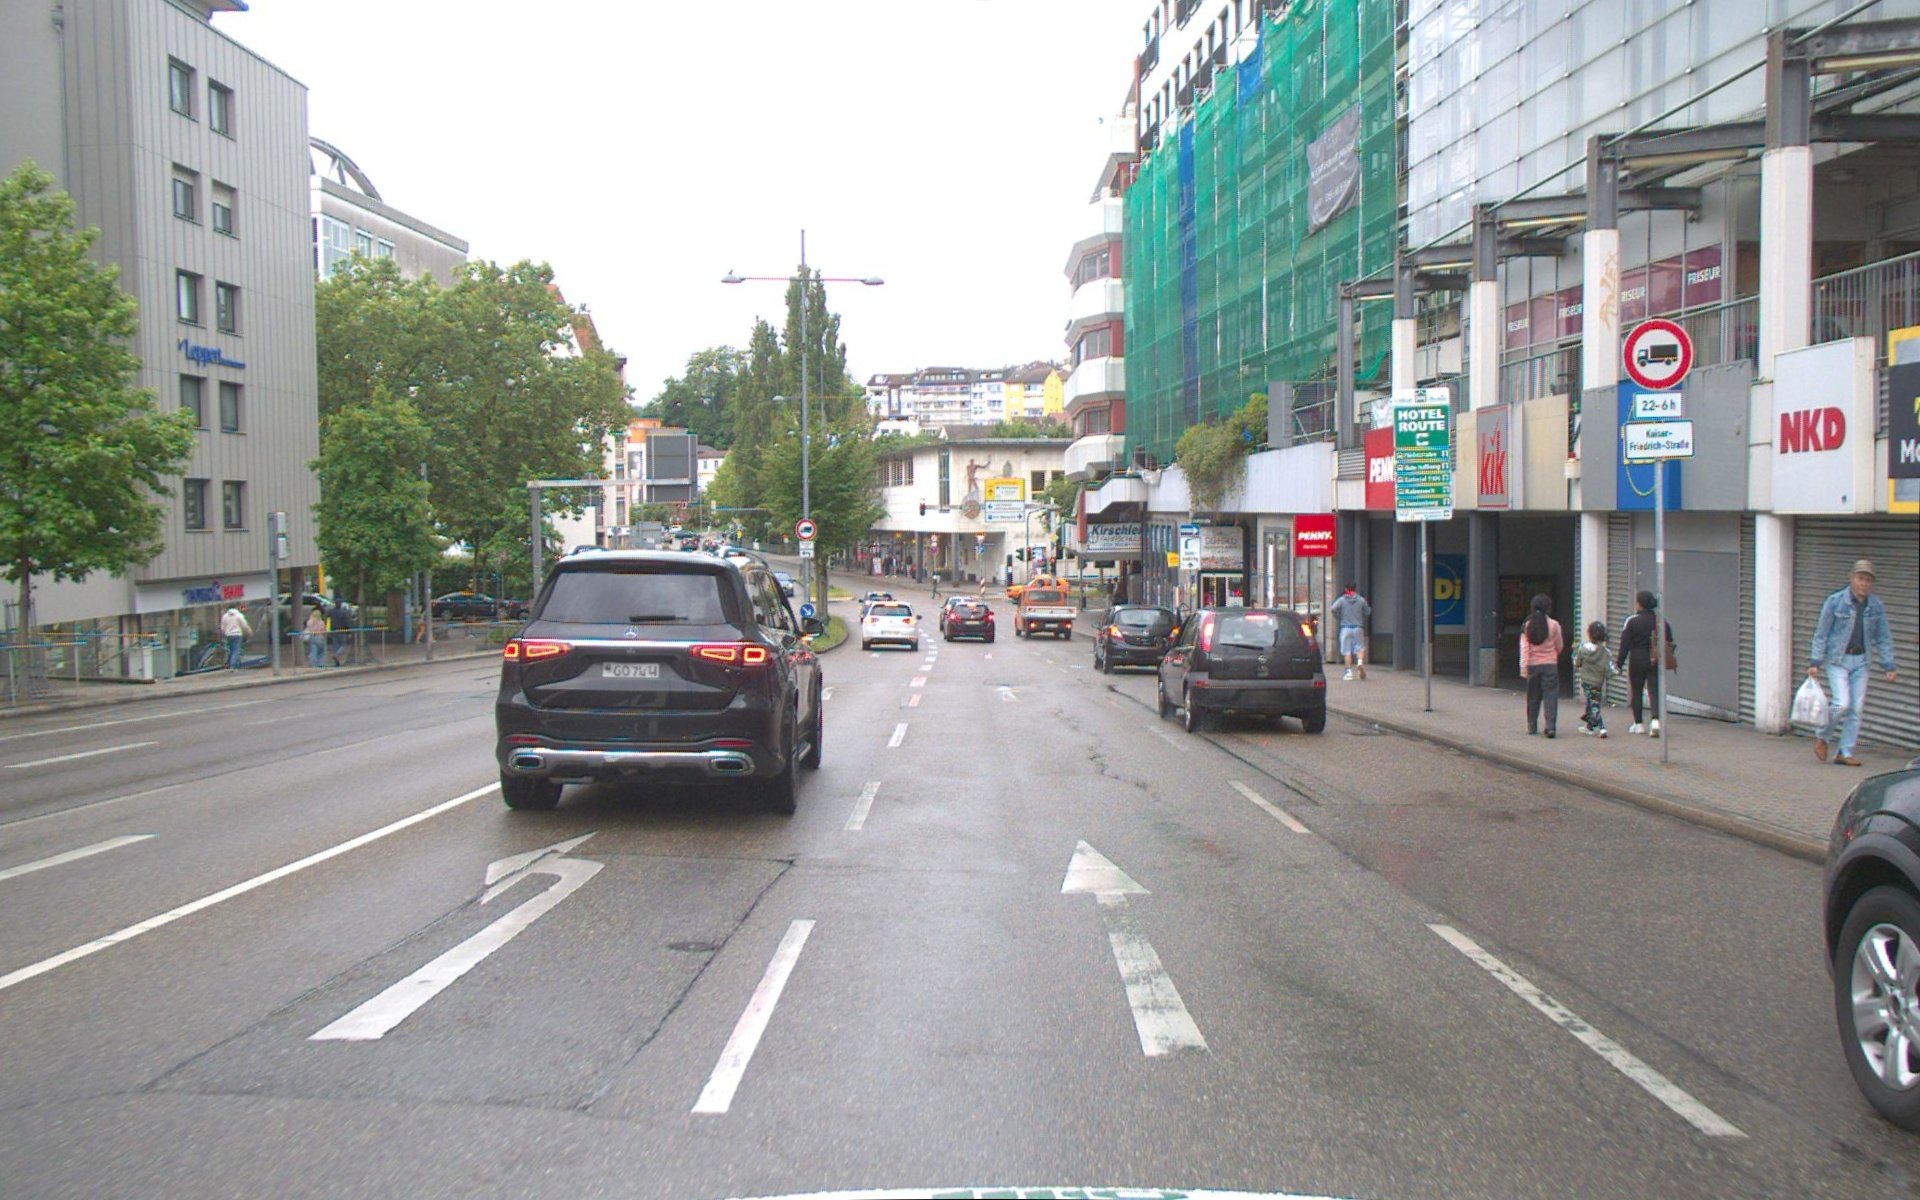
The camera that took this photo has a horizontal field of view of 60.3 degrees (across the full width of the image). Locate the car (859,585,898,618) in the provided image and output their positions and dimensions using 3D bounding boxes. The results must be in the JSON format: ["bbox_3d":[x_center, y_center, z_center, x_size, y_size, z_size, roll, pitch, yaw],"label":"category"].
[{"bbox_3d":[-3.904,0.035,78.849,1.759,1.494,3.996,0,1,-5],"label":"car"}]

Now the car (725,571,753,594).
[{"bbox_3d":[-15.470,-1.194,115.523,1.745,1.576,3.990,0,0,-10],"label":"car"}]

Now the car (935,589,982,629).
[{"bbox_3d":[-0.071,0.371,71.157,1.726,1.569,3.997,0,1,-4],"label":"car"}]

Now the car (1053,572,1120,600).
[{"bbox_3d":[7.730,-0.847,101.153,3.756,1.645,1.766,0,0,-18],"label":"car"}]

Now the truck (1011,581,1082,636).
[{"bbox_3d":[3.423,0.299,66.811,2.141,2.119,5.598,0,0,-5],"label":"truck"}]

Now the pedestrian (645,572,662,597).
[{"bbox_3d":[-20.531,-1.037,110.786,0.918,1.636,0.555,-2,0,-43],"label":"pedestrian"}]

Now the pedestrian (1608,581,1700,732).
[{"bbox_3d":[7.043,0.561,16.822,0.755,1.492,0.704,-1,0,16],"label":"pedestrian"}]

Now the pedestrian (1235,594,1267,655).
[{"bbox_3d":[8.133,0.688,46.174,0.631,1.678,0.559,-3,-1,40],"label":"pedestrian"}]

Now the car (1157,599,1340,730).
[{"bbox_3d":[3.431,0.716,20.289,1.681,1.445,3.771,0,0,2],"label":"car"}]

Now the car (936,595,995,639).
[{"bbox_3d":[0.183,0.593,61.491,1.777,1.466,3.996,1,1,-6],"label":"car"}]

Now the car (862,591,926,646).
[{"bbox_3d":[-2.035,0.537,51.380,1.910,1.601,3.999,0,1,-2],"label":"car"}]

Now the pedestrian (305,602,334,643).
[{"bbox_3d":[-28.142,0.996,72.701,0.741,1.752,0.953,-1,0,11],"label":"pedestrian"}]

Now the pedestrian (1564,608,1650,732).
[{"bbox_3d":[6.674,0.713,17.082,0.676,1.228,0.554,-1,0,7],"label":"pedestrian"}]

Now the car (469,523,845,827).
[{"bbox_3d":[-2.065,0.450,12.757,2.045,1.848,4.792,2,0,-1],"label":"car"}]

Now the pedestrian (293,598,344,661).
[{"bbox_3d":[-18.430,0.851,47.538,0.953,1.752,1.091,-1,0,5],"label":"pedestrian"}]

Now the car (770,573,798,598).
[{"bbox_3d":[-11.606,-0.963,108.983,1.785,1.576,3.995,0,0,-6],"label":"car"}]

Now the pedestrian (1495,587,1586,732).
[{"bbox_3d":[6.102,0.619,17.404,0.730,1.462,0.597,-3,0,7],"label":"pedestrian"}]

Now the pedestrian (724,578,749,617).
[{"bbox_3d":[-11.055,-0.115,81.918,1.040,1.915,0.839,-2,0,5],"label":"pedestrian"}]

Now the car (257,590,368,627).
[{"bbox_3d":[-32.743,0.411,83.749,4.985,1.790,1.993,1,0,-14],"label":"car"}]

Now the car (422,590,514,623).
[{"bbox_3d":[-26.072,0.335,87.843,4.607,1.672,1.779,1,0,-17],"label":"car"}]

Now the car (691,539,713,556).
[{"bbox_3d":[-33.439,-6.815,214.283,1.968,2.049,3.969,0,0,-24],"label":"car"}]

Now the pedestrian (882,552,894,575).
[{"bbox_3d":[-6.017,-3.011,137.523,0.785,1.834,0.914,-2,0,-16],"label":"pedestrian"}]

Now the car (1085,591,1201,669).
[{"bbox_3d":[3.954,0.608,36.418,1.911,1.601,3.998,0,1,-3],"label":"car"}]

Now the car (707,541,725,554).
[{"bbox_3d":[-30.586,-6.551,207.417,1.802,1.616,3.857,0,0,-16],"label":"car"}]

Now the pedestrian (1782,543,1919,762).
[{"bbox_3d":[7.344,0.423,13.638,0.818,1.752,0.618,-1,0,7],"label":"pedestrian"}]

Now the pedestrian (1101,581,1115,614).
[{"bbox_3d":[7.912,-0.154,88.432,0.565,1.729,0.649,-2,0,-12],"label":"pedestrian"}]

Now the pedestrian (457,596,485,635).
[{"bbox_3d":[-22.248,0.713,75.268,0.929,1.752,0.760,-1,0,22],"label":"pedestrian"}]

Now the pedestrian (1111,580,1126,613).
[{"bbox_3d":[8.507,-0.192,88.563,0.566,1.729,0.648,-2,0,-16],"label":"pedestrian"}]

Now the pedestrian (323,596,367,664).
[{"bbox_3d":[-16.398,0.786,44.115,0.800,1.743,1.311,-2,0,-8],"label":"pedestrian"}]

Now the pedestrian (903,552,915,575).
[{"bbox_3d":[-4.219,-3.022,136.760,0.691,1.834,0.934,-2,0,-16],"label":"pedestrian"}]

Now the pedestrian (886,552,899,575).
[{"bbox_3d":[-5.547,-3.016,136.292,0.832,1.834,1.051,-2,0,-16],"label":"pedestrian"}]

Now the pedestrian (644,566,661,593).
[{"bbox_3d":[-20.882,-1.380,112.318,0.898,1.834,0.618,-2,0,-43],"label":"pedestrian"}]

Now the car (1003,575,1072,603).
[{"bbox_3d":[4.692,-0.668,100.486,3.923,1.645,1.771,0,0,-10],"label":"car"}]

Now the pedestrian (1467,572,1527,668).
[{"bbox_3d":[9.947,0.365,30.640,0.660,1.745,0.811,-2,0,-26],"label":"pedestrian"}]

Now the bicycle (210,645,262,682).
[{"bbox_3d":[-23.511,2.059,53.751,0.599,1.106,2.670,0,0,-2],"label":"bicycle"}]

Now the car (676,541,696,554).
[{"bbox_3d":[-34.795,-6.627,209.785,1.726,1.581,3.542,0,1,-24],"label":"car"}]

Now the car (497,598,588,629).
[{"bbox_3d":[-21.719,0.710,86.175,4.513,1.508,1.935,1,0,-14],"label":"car"}]

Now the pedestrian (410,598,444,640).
[{"bbox_3d":[-23.559,0.829,73.105,0.932,1.752,1.013,-1,3,33],"label":"pedestrian"}]

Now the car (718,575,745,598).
[{"bbox_3d":[-14.889,-0.887,107.893,1.675,1.476,3.853,0,0,-9],"label":"car"}]

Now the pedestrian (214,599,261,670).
[{"bbox_3d":[-18.438,0.858,42.239,0.978,1.752,1.033,-2,0,-20],"label":"pedestrian"}]

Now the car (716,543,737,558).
[{"bbox_3d":[-25.779,-5.440,182.565,1.960,1.624,3.985,0,0,-14],"label":"car"}]

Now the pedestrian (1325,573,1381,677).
[{"bbox_3d":[6.829,0.422,28.764,0.818,1.752,0.830,-1,0,7],"label":"pedestrian"}]

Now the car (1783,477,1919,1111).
[{"bbox_3d":[3.650,0.574,3.368,1.868,1.816,4.303,-1,1,1],"label":"car"}]
